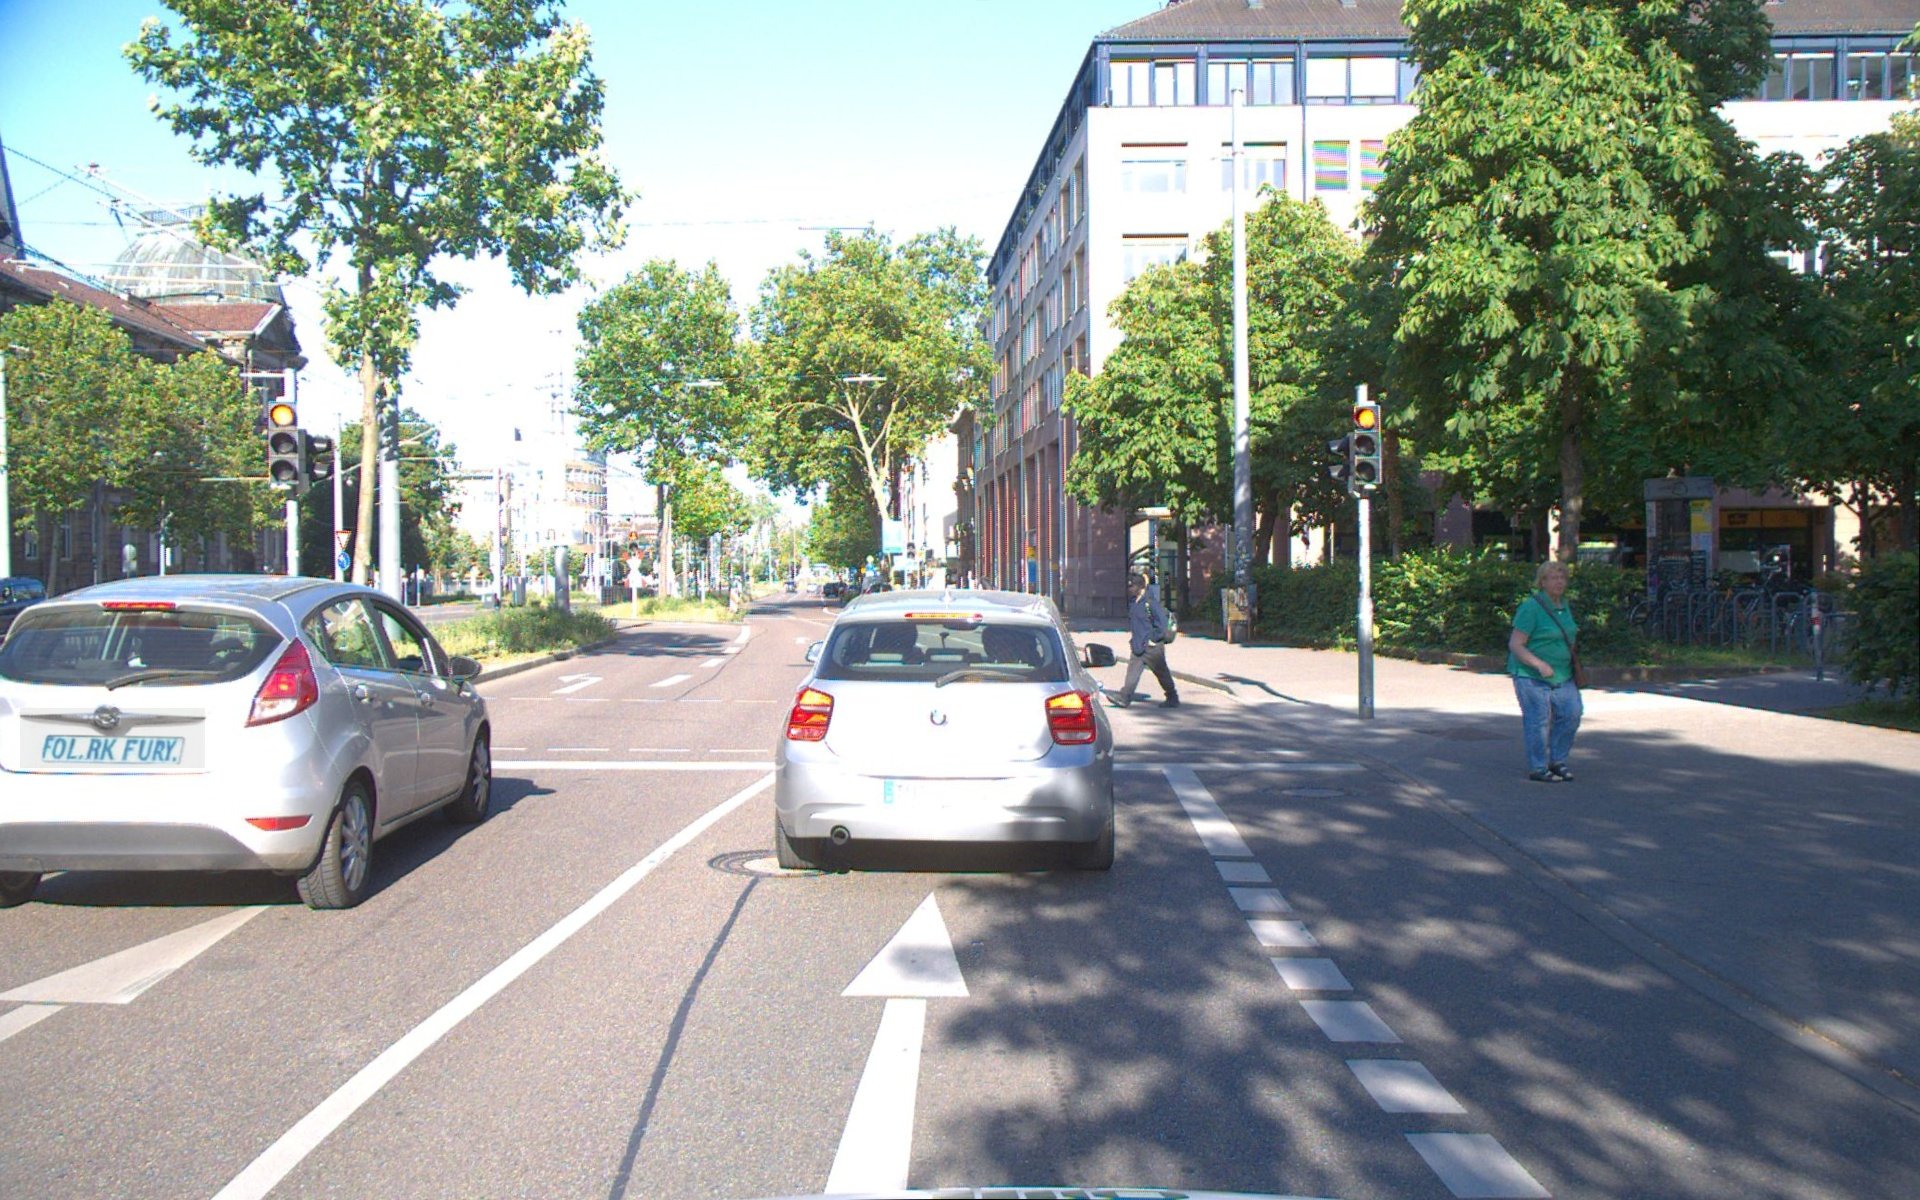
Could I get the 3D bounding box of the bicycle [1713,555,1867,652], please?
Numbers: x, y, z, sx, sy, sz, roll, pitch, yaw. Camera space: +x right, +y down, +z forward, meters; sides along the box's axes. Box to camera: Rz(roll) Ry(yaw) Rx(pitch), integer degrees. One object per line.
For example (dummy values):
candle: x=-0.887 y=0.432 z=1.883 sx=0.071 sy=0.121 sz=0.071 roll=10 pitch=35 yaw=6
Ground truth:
bicycle: x=12.252 y=0.048 z=24.430 sx=1.956 sy=1.337 sz=0.574 roll=-2 pitch=0 yaw=-2

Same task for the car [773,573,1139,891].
car: x=0.070 y=0.583 z=9.623 sx=1.694 sy=1.414 sz=3.842 roll=1 pitch=1 yaw=3

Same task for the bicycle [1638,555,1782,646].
bicycle: x=11.733 y=0.002 z=25.902 sx=1.956 sy=1.337 sz=0.574 roll=-2 pitch=0 yaw=-2

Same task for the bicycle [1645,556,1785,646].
bicycle: x=12.093 y=0.014 z=26.529 sx=1.956 sy=1.337 sz=0.574 roll=-2 pitch=0 yaw=-2

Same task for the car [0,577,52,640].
car: x=-26.478 y=0.230 z=44.464 sx=1.953 sy=1.653 sz=4.000 roll=-1 pitch=1 yaw=-1

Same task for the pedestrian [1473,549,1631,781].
pedestrian: x=4.295 y=0.449 z=12.002 sx=0.818 sy=1.603 sz=0.734 roll=-2 pitch=0 yaw=44

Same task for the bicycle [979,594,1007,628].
bicycle: x=1.107 y=0.355 z=55.533 sx=0.814 sy=1.059 sz=1.875 roll=-1 pitch=1 yaw=5

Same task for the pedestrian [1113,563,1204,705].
pedestrian: x=2.368 y=0.396 z=19.807 sx=0.924 sy=1.657 sz=0.626 roll=0 pitch=0 yaw=-14

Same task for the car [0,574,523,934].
car: x=-3.454 y=0.607 z=8.430 sx=1.627 sy=1.434 sz=3.630 roll=0 pitch=0 yaw=-3

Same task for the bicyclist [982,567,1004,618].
bicyclist: x=1.109 y=-0.270 z=55.550 sx=0.644 sy=1.686 sz=0.765 roll=-1 pitch=1 yaw=5
